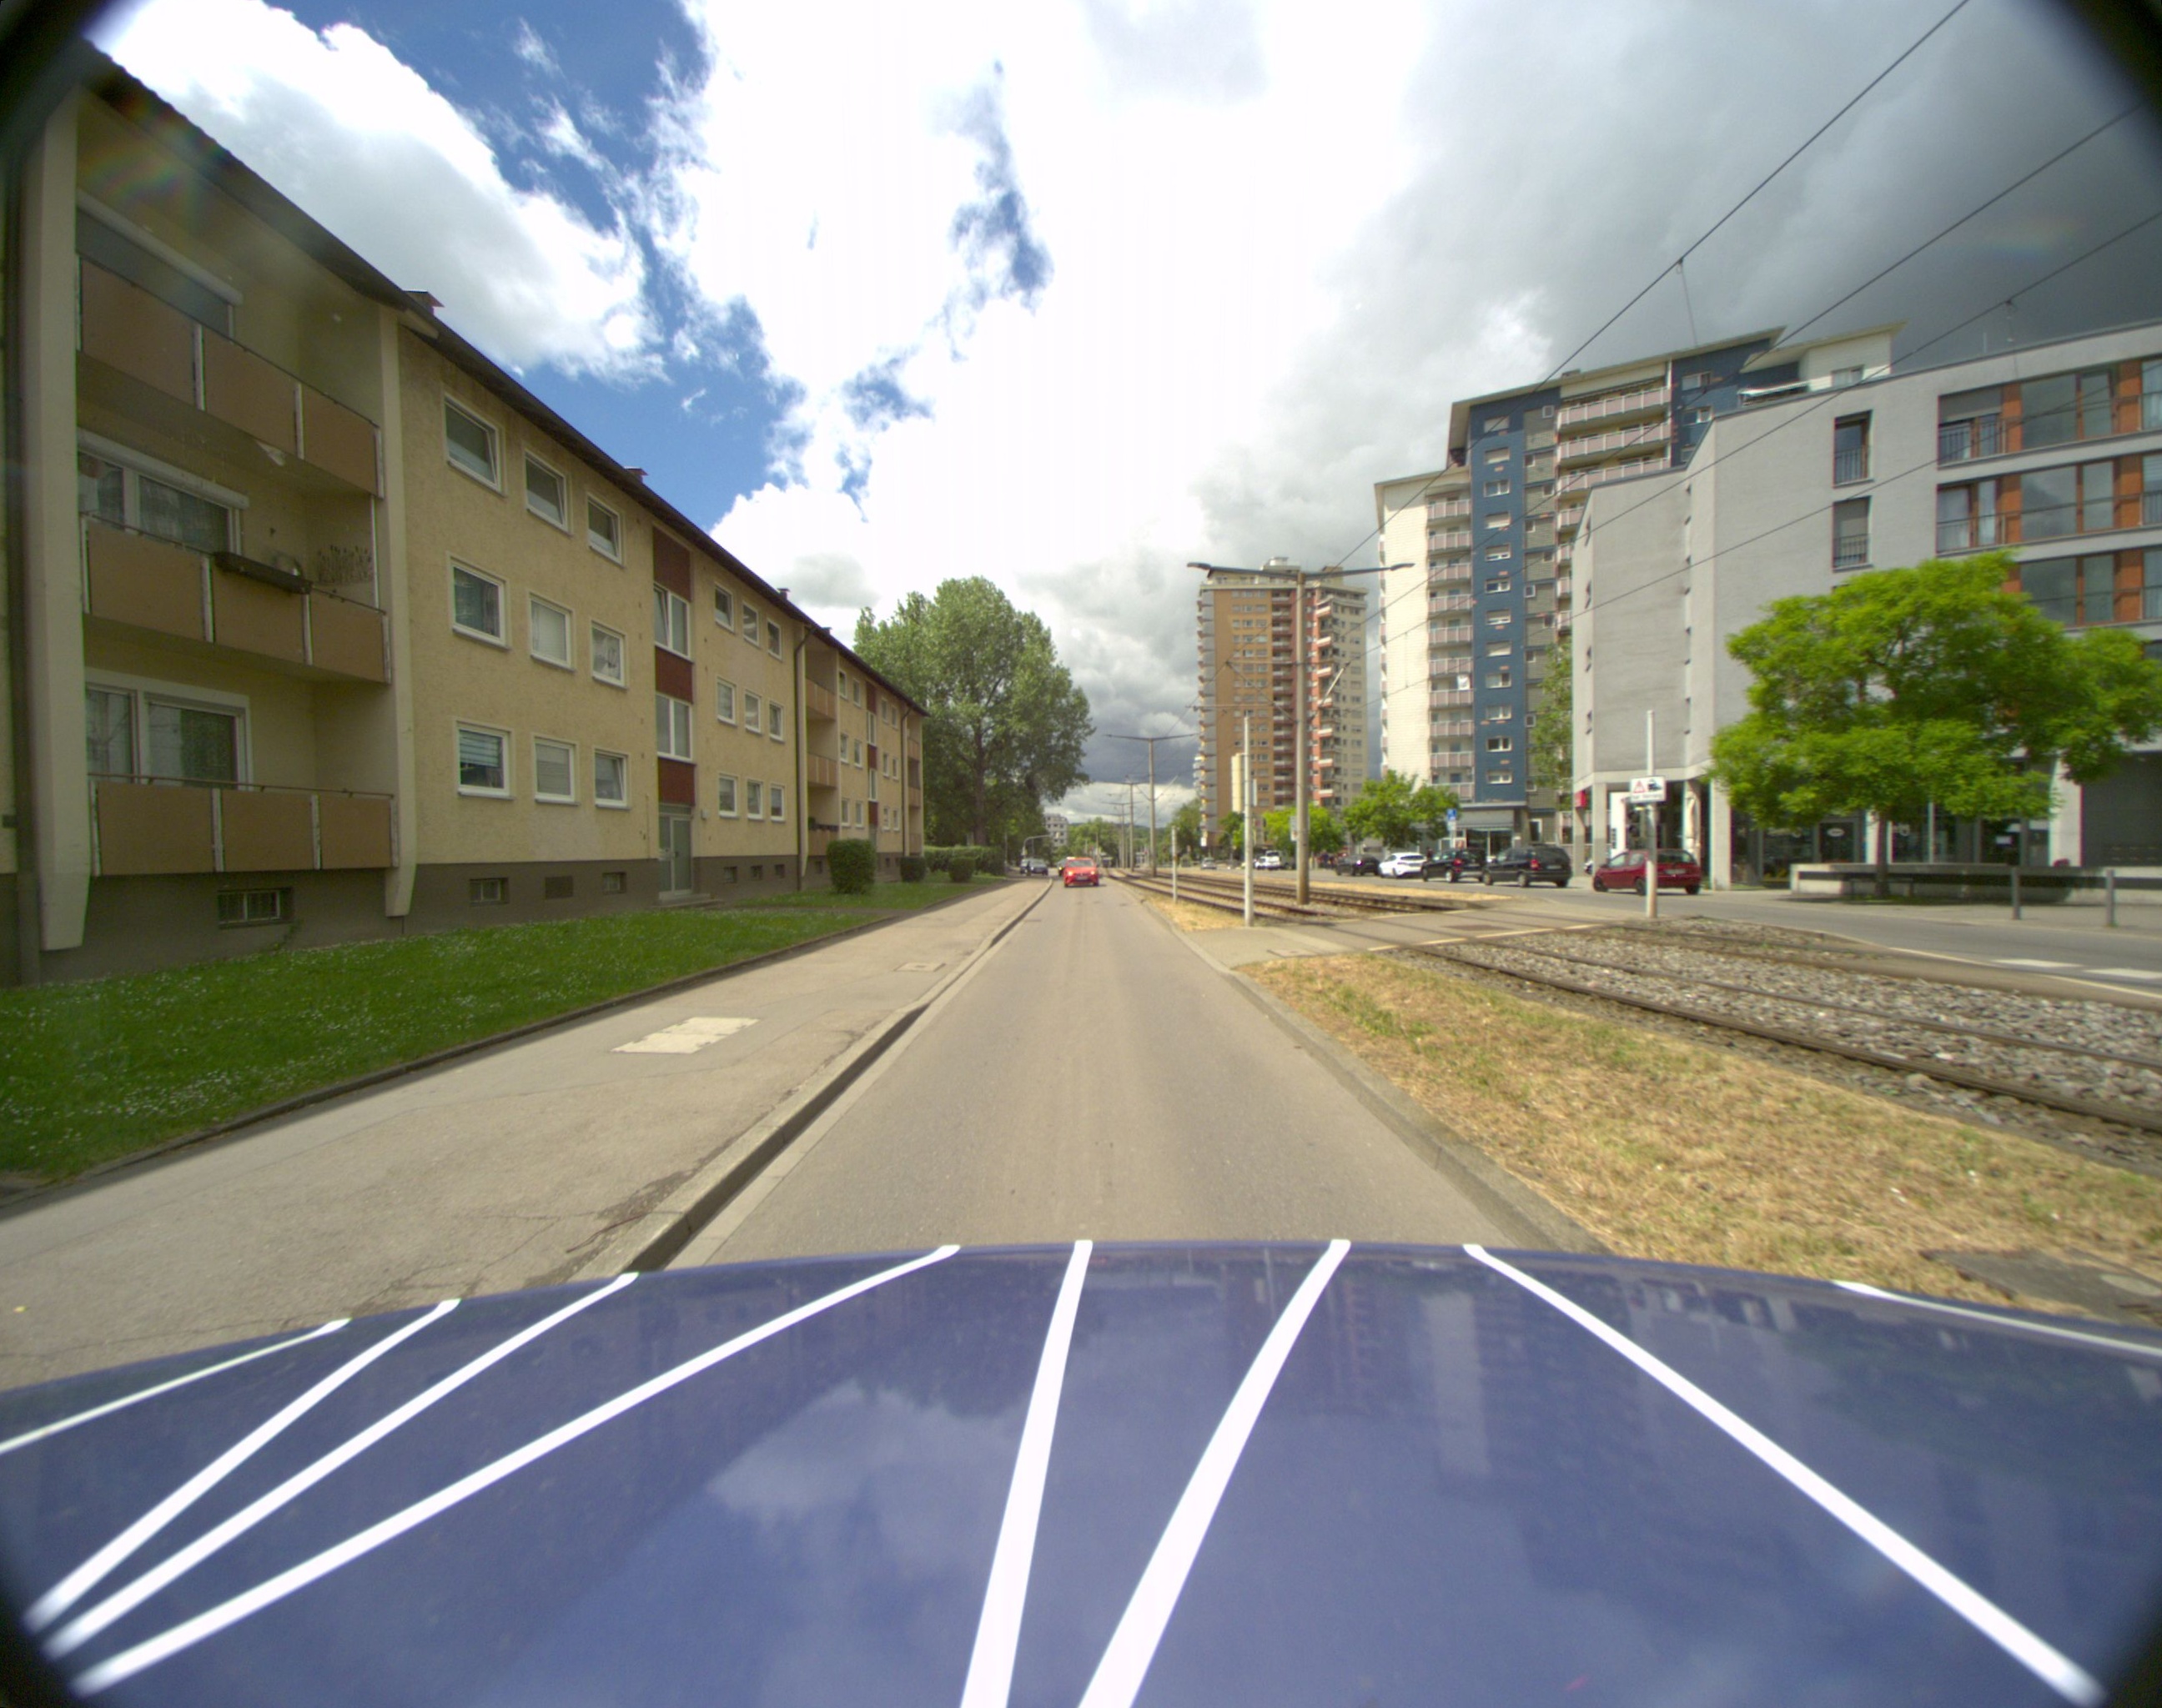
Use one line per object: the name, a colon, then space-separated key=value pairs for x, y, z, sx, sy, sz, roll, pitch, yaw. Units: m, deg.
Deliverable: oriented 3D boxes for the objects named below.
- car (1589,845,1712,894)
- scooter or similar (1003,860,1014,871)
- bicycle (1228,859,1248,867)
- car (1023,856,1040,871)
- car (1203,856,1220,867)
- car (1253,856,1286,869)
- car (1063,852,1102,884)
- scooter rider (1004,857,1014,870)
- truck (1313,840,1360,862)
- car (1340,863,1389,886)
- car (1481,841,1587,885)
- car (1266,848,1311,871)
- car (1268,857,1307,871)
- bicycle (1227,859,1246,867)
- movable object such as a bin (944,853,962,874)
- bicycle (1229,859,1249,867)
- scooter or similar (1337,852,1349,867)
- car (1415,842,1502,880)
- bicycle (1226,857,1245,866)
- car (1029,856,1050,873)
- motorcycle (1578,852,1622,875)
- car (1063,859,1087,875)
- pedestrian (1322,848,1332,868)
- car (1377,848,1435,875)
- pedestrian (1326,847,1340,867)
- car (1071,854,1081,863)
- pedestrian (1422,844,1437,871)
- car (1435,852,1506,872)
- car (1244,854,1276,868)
car: x=17.870 y=0.478 z=24.036 sx=1.616 sy=1.418 sz=3.425 roll=0 pitch=-1 yaw=7
scooter or similar: x=-6.780 y=1.093 z=71.452 sx=0.892 sy=1.058 sz=2.114 roll=0 pitch=-1 yaw=-3
bicycle: x=20.578 y=1.167 z=99.738 sx=2.433 sy=1.059 sz=0.705 roll=0 pitch=0 yaw=1
car: x=-5.380 y=0.998 z=82.070 sx=1.789 sy=1.556 sz=4.568 roll=0 pitch=-1 yaw=-5
car: x=17.240 y=1.010 z=100.344 sx=1.822 sy=1.523 sz=3.756 roll=0 pitch=-1 yaw=4
car: x=21.198 y=0.948 z=85.425 sx=3.774 sy=1.487 sz=1.742 roll=1 pitch=-1 yaw=-39
car: x=0.022 y=0.668 z=38.527 sx=1.819 sy=1.483 sz=3.999 roll=-1 pitch=0 yaw=-2
scooter rider: x=-6.770 y=0.908 z=71.380 sx=0.887 sy=1.213 sz=1.282 roll=0 pitch=-1 yaw=-3
truck: x=42.755 y=-0.496 z=127.151 sx=7.090 sy=3.652 sz=2.548 roll=0 pitch=0 yaw=7
car: x=18.630 y=1.302 z=50.154 sx=1.738 sy=1.420 sz=4.381 roll=0 pitch=0 yaw=3
car: x=18.189 y=0.380 z=30.762 sx=1.998 sy=1.638 sz=4.101 roll=0 pitch=-1 yaw=3
car: x=20.218 y=0.537 z=74.090 sx=4.772 sy=2.144 sz=1.901 roll=1 pitch=-1 yaw=-41
car: x=21.143 y=1.001 z=77.678 sx=4.009 sy=1.375 sz=1.901 roll=1 pitch=-1 yaw=-41
bicycle: x=20.544 y=1.178 z=100.488 sx=2.433 sy=1.059 sz=0.705 roll=0 pitch=0 yaw=1
movable object such as a bin: x=-8.624 y=0.644 z=51.192 sx=1.101 sy=1.430 sz=0.761 roll=0 pitch=0 yaw=-2
bicycle: x=20.561 y=1.155 z=98.954 sx=2.433 sy=1.059 sz=0.705 roll=0 pitch=0 yaw=1
scooter or similar: x=20.824 y=0.441 z=60.406 sx=0.582 sy=1.117 sz=0.767 roll=3 pitch=-4 yaw=-36
car: x=18.143 y=0.346 z=36.725 sx=1.999 sy=1.653 sz=4.099 roll=-1 pitch=-1 yaw=-2
bicycle: x=20.559 y=0.999 z=101.287 sx=2.433 sy=1.059 sz=0.705 roll=0 pitch=0 yaw=1
car: x=-3.754 y=0.968 z=67.926 sx=1.820 sy=1.440 sz=3.825 roll=0 pitch=-1 yaw=-4
motorcycle: x=27.612 y=0.502 z=40.431 sx=1.897 sy=1.171 sz=0.741 roll=0 pitch=0 yaw=-2
car: x=-0.475 y=1.122 z=64.910 sx=1.999 sy=1.280 sz=4.000 roll=0 pitch=-1 yaw=0
pedestrian: x=21.497 y=0.363 z=66.378 sx=0.842 sy=1.782 sz=0.875 roll=0 pitch=0 yaw=15
car: x=18.360 y=0.450 z=43.140 sx=1.758 sy=1.466 sz=4.402 roll=0 pitch=-1 yaw=6
pedestrian: x=20.259 y=0.251 z=61.078 sx=0.516 sy=1.561 sz=0.983 roll=2 pitch=-3 yaw=-36
car: x=-1.135 y=0.934 z=166.742 sx=1.998 sy=2.001 sz=4.001 roll=0 pitch=-1 yaw=1
pedestrian: x=22.793 y=0.223 z=49.721 sx=0.613 sy=1.782 sz=0.843 roll=0 pitch=0 yaw=0
car: x=28.407 y=0.596 z=55.398 sx=4.343 sy=1.434 sz=2.004 roll=0 pitch=-1 yaw=36
car: x=21.180 y=0.862 z=89.801 sx=1.927 sy=1.582 sz=4.009 roll=0 pitch=-1 yaw=44
